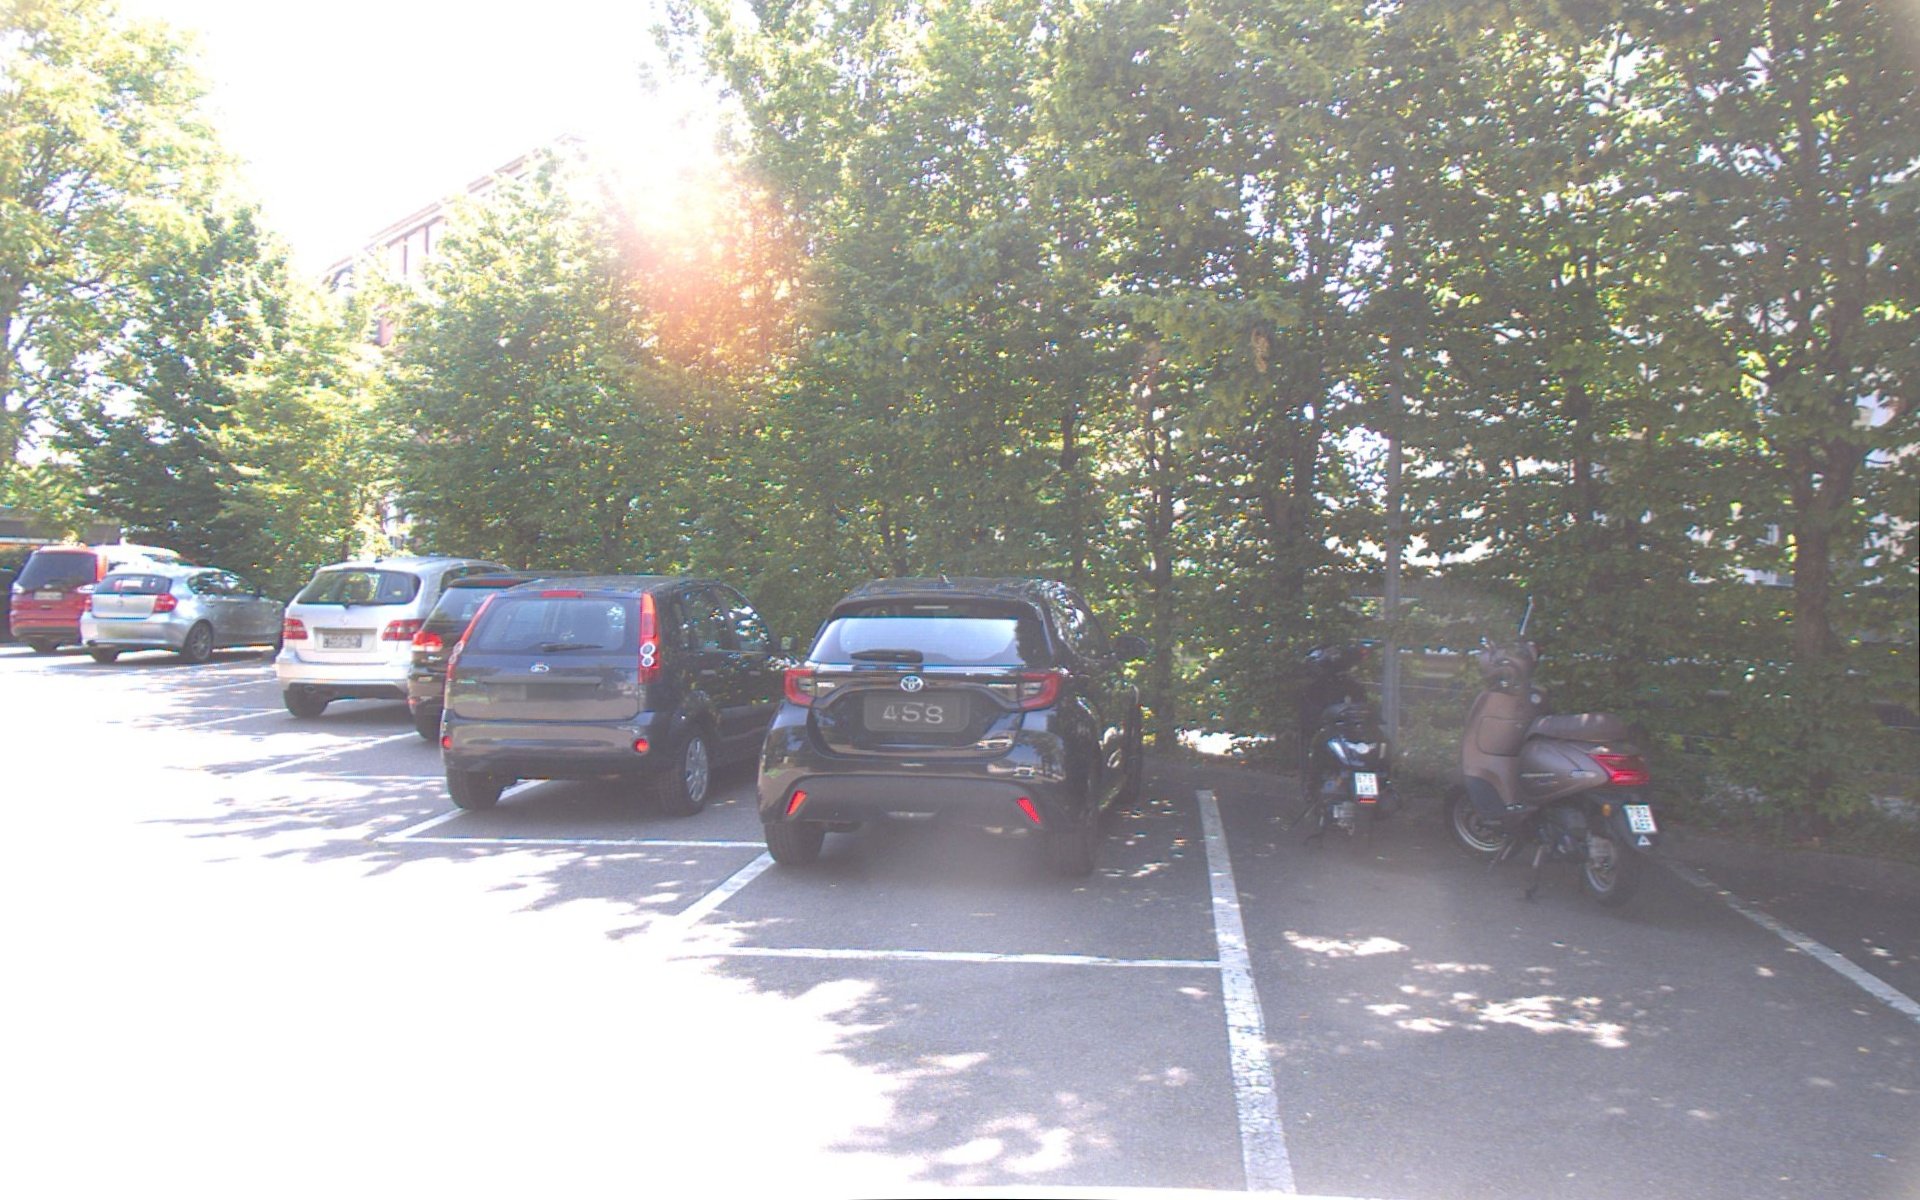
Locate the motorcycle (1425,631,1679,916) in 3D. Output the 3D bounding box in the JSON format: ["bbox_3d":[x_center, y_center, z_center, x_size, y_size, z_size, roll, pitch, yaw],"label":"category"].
[{"bbox_3d":[2.785,0.765,7.948,0.557,1.189,1.604,0,0,-3],"label":"motorcycle"}]

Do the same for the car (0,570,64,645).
[{"bbox_3d":[-18.757,0.138,30.683,1.731,1.413,4.003,0,0,7],"label":"car"}]

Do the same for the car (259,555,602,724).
[{"bbox_3d":[-5.552,0.343,17.902,1.730,1.599,4.004,1,1,13],"label":"car"}]

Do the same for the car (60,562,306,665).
[{"bbox_3d":[-12.169,0.160,26.210,1.731,1.501,4.003,0,1,5],"label":"car"}]

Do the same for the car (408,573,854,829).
[{"bbox_3d":[-2.109,0.559,11.810,1.663,1.478,4.004,0,1,12],"label":"car"}]

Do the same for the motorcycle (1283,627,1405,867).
[{"bbox_3d":[2.100,0.757,9.179,0.463,1.161,1.607,1,1,6],"label":"motorcycle"}]

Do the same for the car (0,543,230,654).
[{"bbox_3d":[-14.612,-0.063,28.686,1.731,1.765,4.003,-1,1,6],"label":"car"}]

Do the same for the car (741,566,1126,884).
[{"bbox_3d":[0.050,0.552,9.910,1.620,1.495,3.908,0,1,10],"label":"car"}]

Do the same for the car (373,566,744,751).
[{"bbox_3d":[-3.606,0.433,15.651,1.731,1.495,4.004,0,1,14],"label":"car"}]
